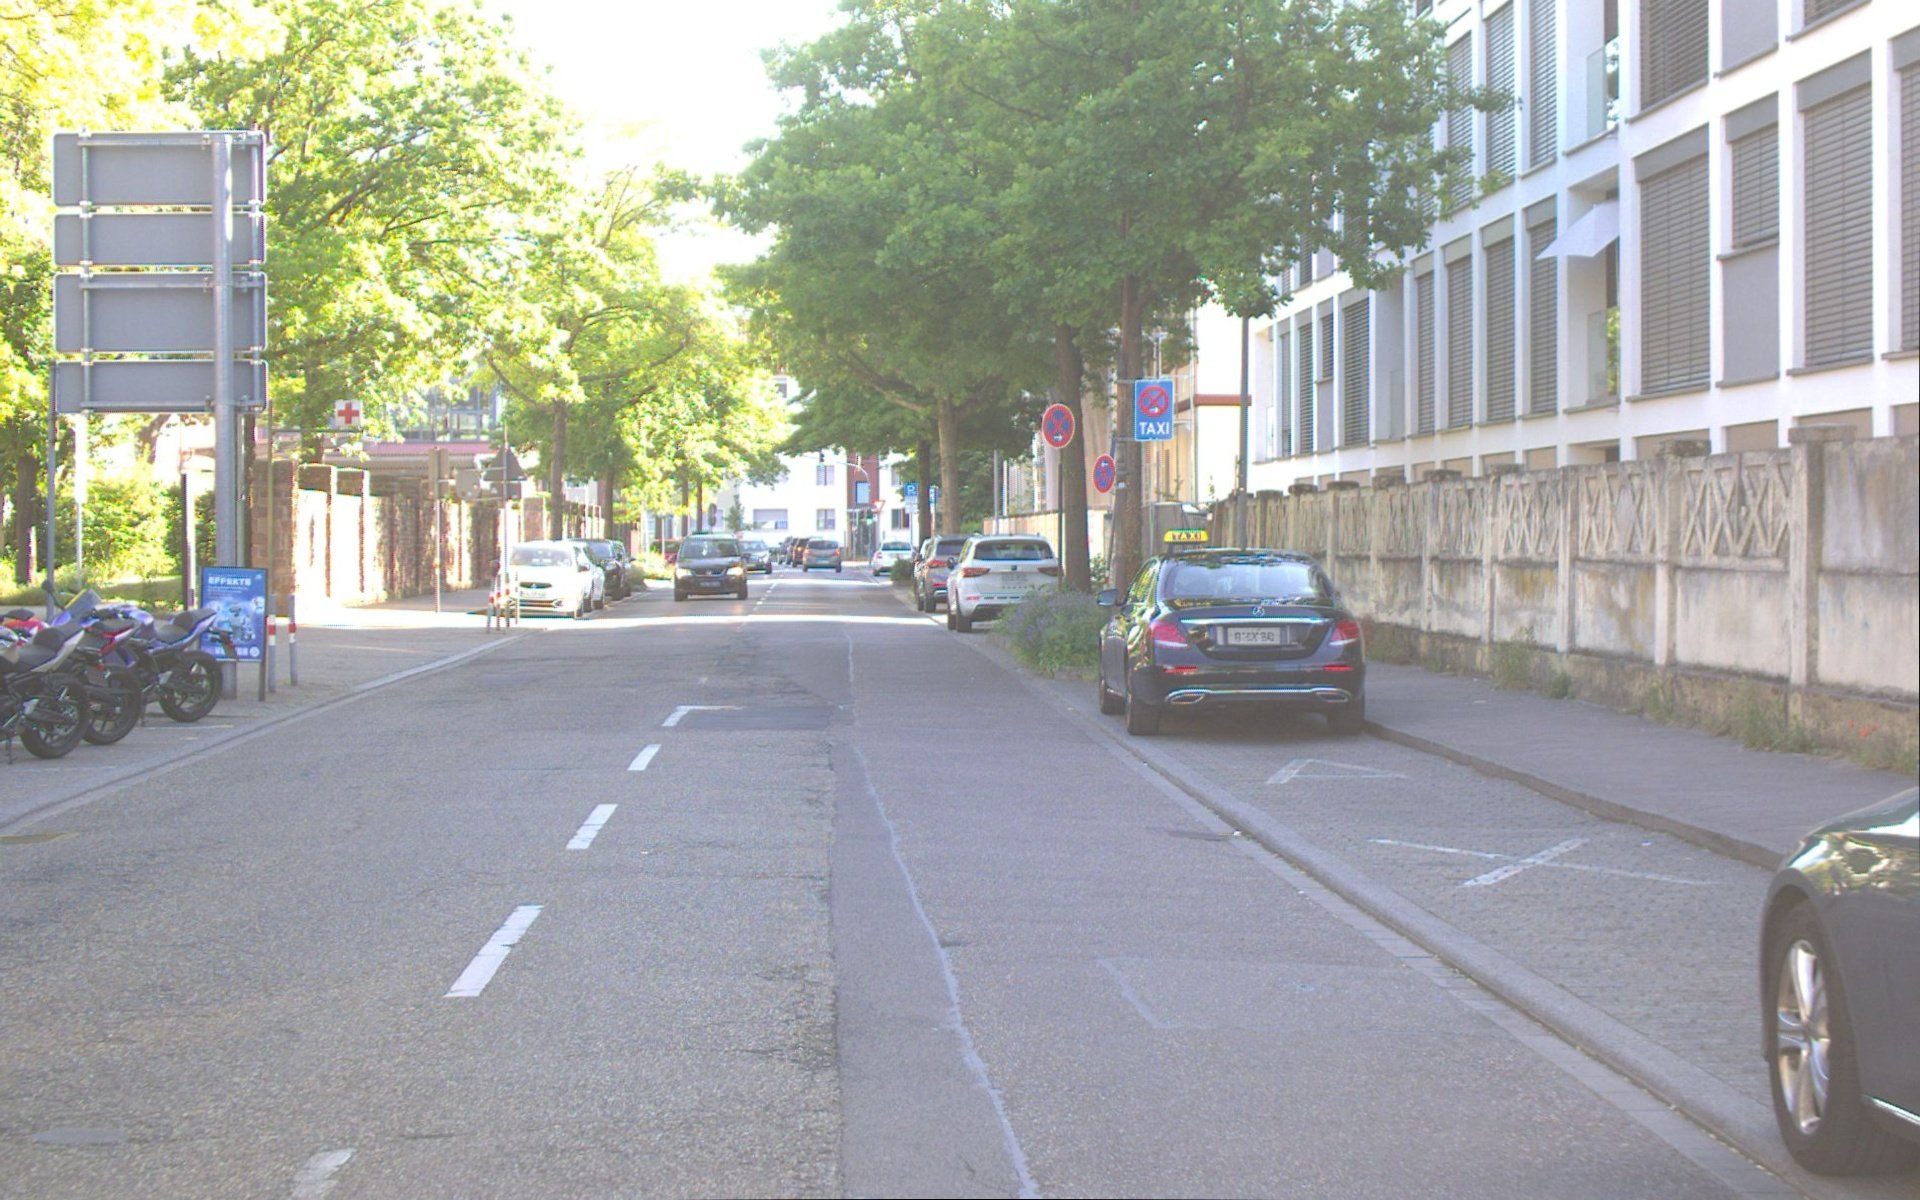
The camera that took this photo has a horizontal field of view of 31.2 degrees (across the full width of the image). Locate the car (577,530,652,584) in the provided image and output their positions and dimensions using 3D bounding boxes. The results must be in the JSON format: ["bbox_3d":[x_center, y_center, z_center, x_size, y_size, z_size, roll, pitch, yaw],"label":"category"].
[{"bbox_3d":[-9.984,-1.266,99.558,1.907,1.525,4.001,1,1,-2],"label":"car"}]

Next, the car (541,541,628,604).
[{"bbox_3d":[-9.430,-0.716,86.510,1.907,1.525,4.001,0,1,-2],"label":"car"}]

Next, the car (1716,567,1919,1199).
[{"bbox_3d":[2.924,0.701,6.534,1.703,1.463,4.789,1,1,-3],"label":"car"}]

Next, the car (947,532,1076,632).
[{"bbox_3d":[0.811,-0.323,56.611,1.950,1.573,3.837,0,1,-1],"label":"car"}]

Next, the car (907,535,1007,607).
[{"bbox_3d":[-0.089,-0.624,72.436,1.993,1.460,3.837,0,1,-1],"label":"car"}]

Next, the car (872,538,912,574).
[{"bbox_3d":[-2.721,-1.783,137.538,1.585,1.395,3.837,0,1,-1],"label":"car"}]

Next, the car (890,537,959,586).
[{"bbox_3d":[-1.079,-1.167,103.278,1.993,1.420,3.837,0,1,-1],"label":"car"}]

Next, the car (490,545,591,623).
[{"bbox_3d":[-8.324,-0.341,68.491,1.767,1.482,4.001,0,1,-4],"label":"car"}]

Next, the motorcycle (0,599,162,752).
[{"bbox_3d":[-6.854,0.546,25.354,0.577,1.071,2.118,1,1,31],"label":"motorcycle"}]

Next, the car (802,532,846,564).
[{"bbox_3d":[-5.984,-2.312,151.737,1.889,1.395,3.837,0,1,-1],"label":"car"}]

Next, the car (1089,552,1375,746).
[{"bbox_3d":[2.120,0.336,27.832,1.767,1.435,4.001,0,1,-4],"label":"car"}]

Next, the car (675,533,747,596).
[{"bbox_3d":[-6.149,-0.898,85.057,1.653,1.525,4.001,0,1,-2],"label":"car"}]

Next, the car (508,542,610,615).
[{"bbox_3d":[-8.640,-0.481,74.356,1.907,1.525,4.001,0,1,-2],"label":"car"}]

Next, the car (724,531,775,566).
[{"bbox_3d":[-8.900,-2.180,145.705,1.993,1.448,4.000,0,1,-1],"label":"car"}]

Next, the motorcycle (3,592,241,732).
[{"bbox_3d":[-6.859,0.490,28.257,0.577,1.071,2.118,1,1,31],"label":"motorcycle"}]

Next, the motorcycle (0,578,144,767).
[{"bbox_3d":[-6.666,0.498,23.986,0.577,1.271,2.118,1,1,31],"label":"motorcycle"}]
